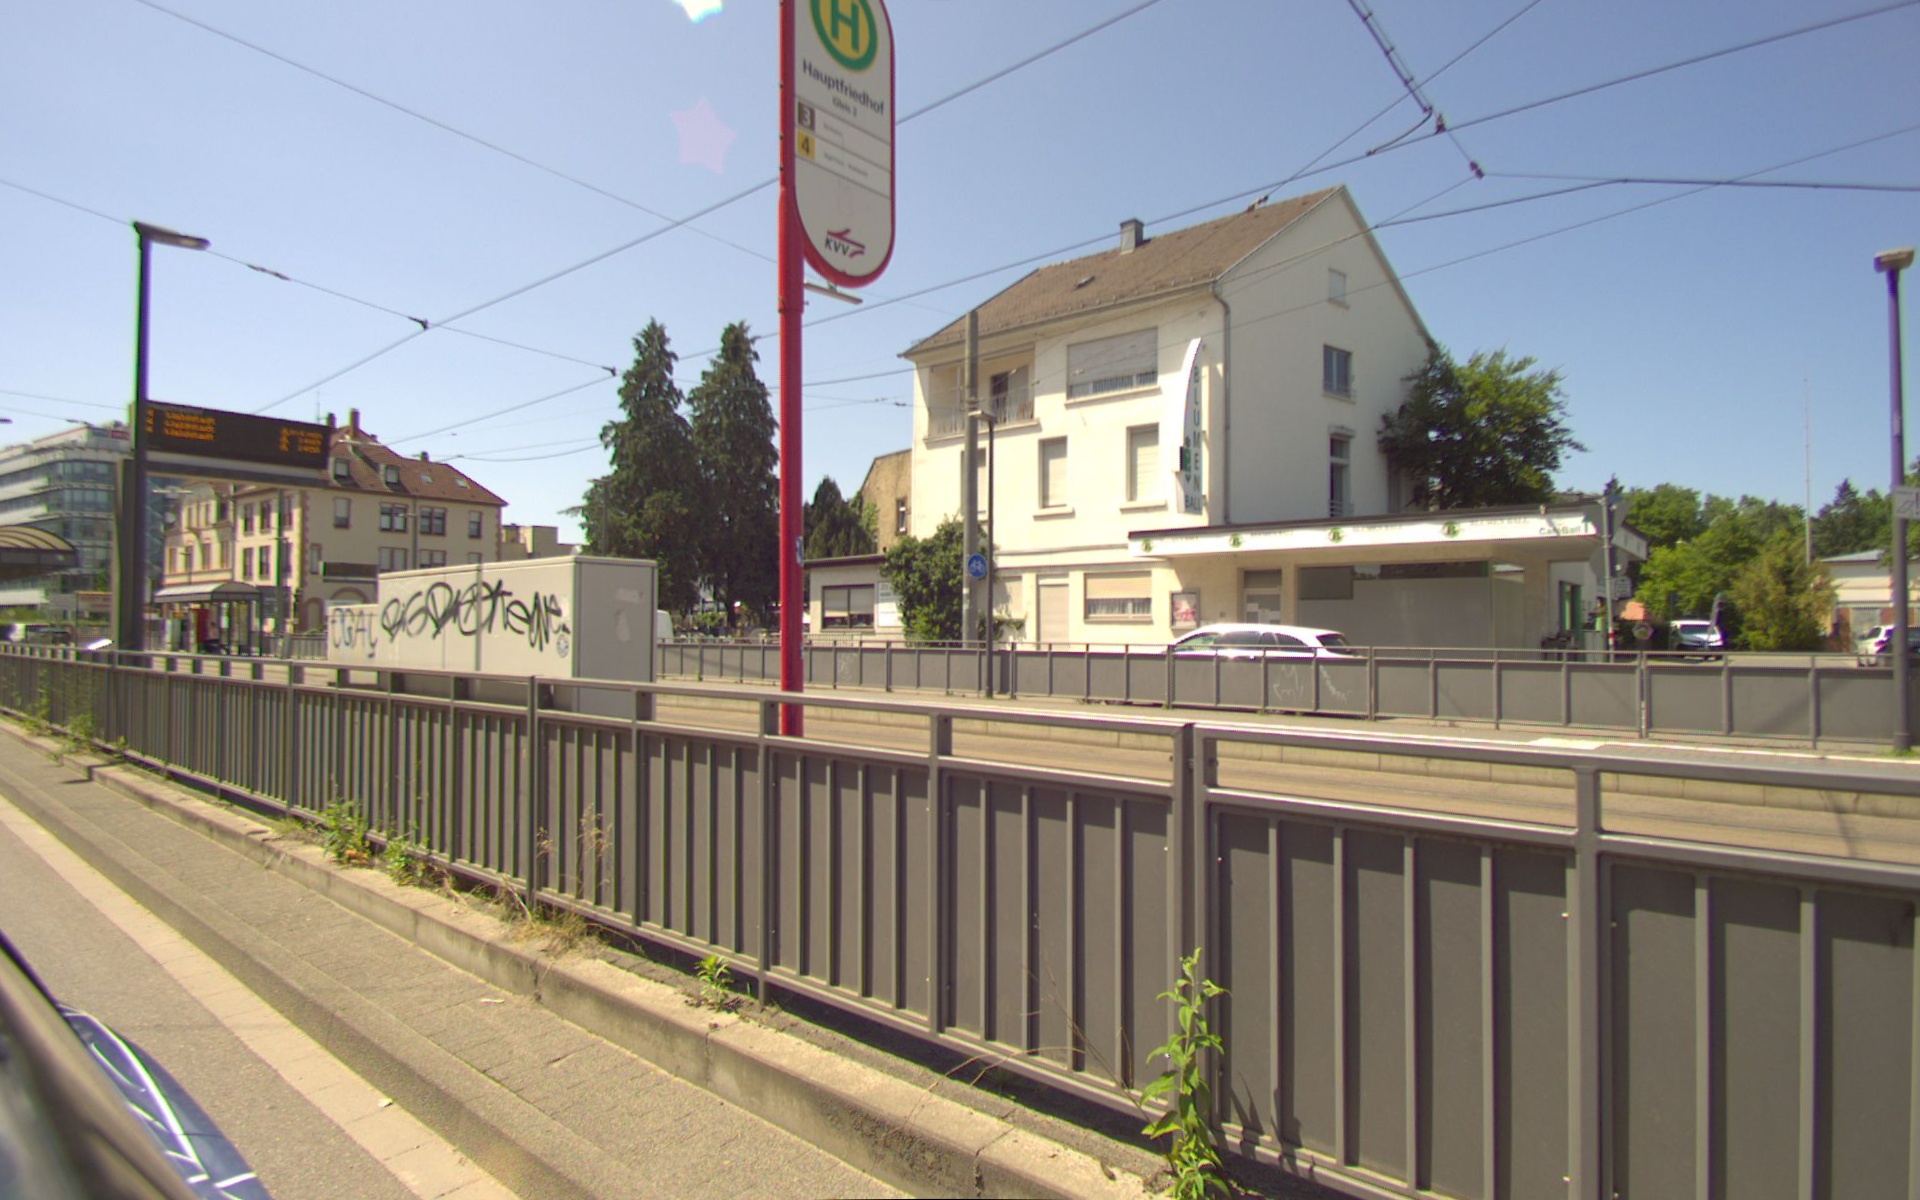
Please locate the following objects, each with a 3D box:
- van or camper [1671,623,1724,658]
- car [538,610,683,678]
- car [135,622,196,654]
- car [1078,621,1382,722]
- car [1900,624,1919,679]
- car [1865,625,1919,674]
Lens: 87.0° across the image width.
[{"bbox_3d":[34.704,1.906,47.692,1.686,1.578,3.784,-1,-2,32],"label":"van or camper"},{"bbox_3d":[-10.247,1.259,29.511,4.695,1.830,1.836,-1,-3,41],"label":"car"},{"bbox_3d":[-46.447,2.210,59.169,3.996,1.852,1.974,-2,-2,39],"label":"car"},{"bbox_3d":[4.406,1.121,16.985,4.619,1.479,1.799,-1,-3,40],"label":"car"},{"bbox_3d":[25.788,1.356,26.477,1.644,1.381,3.760,-2,-3,42],"label":"car"},{"bbox_3d":[29.418,1.549,31.602,1.644,1.457,3.761,-2,-3,41],"label":"car"}]
